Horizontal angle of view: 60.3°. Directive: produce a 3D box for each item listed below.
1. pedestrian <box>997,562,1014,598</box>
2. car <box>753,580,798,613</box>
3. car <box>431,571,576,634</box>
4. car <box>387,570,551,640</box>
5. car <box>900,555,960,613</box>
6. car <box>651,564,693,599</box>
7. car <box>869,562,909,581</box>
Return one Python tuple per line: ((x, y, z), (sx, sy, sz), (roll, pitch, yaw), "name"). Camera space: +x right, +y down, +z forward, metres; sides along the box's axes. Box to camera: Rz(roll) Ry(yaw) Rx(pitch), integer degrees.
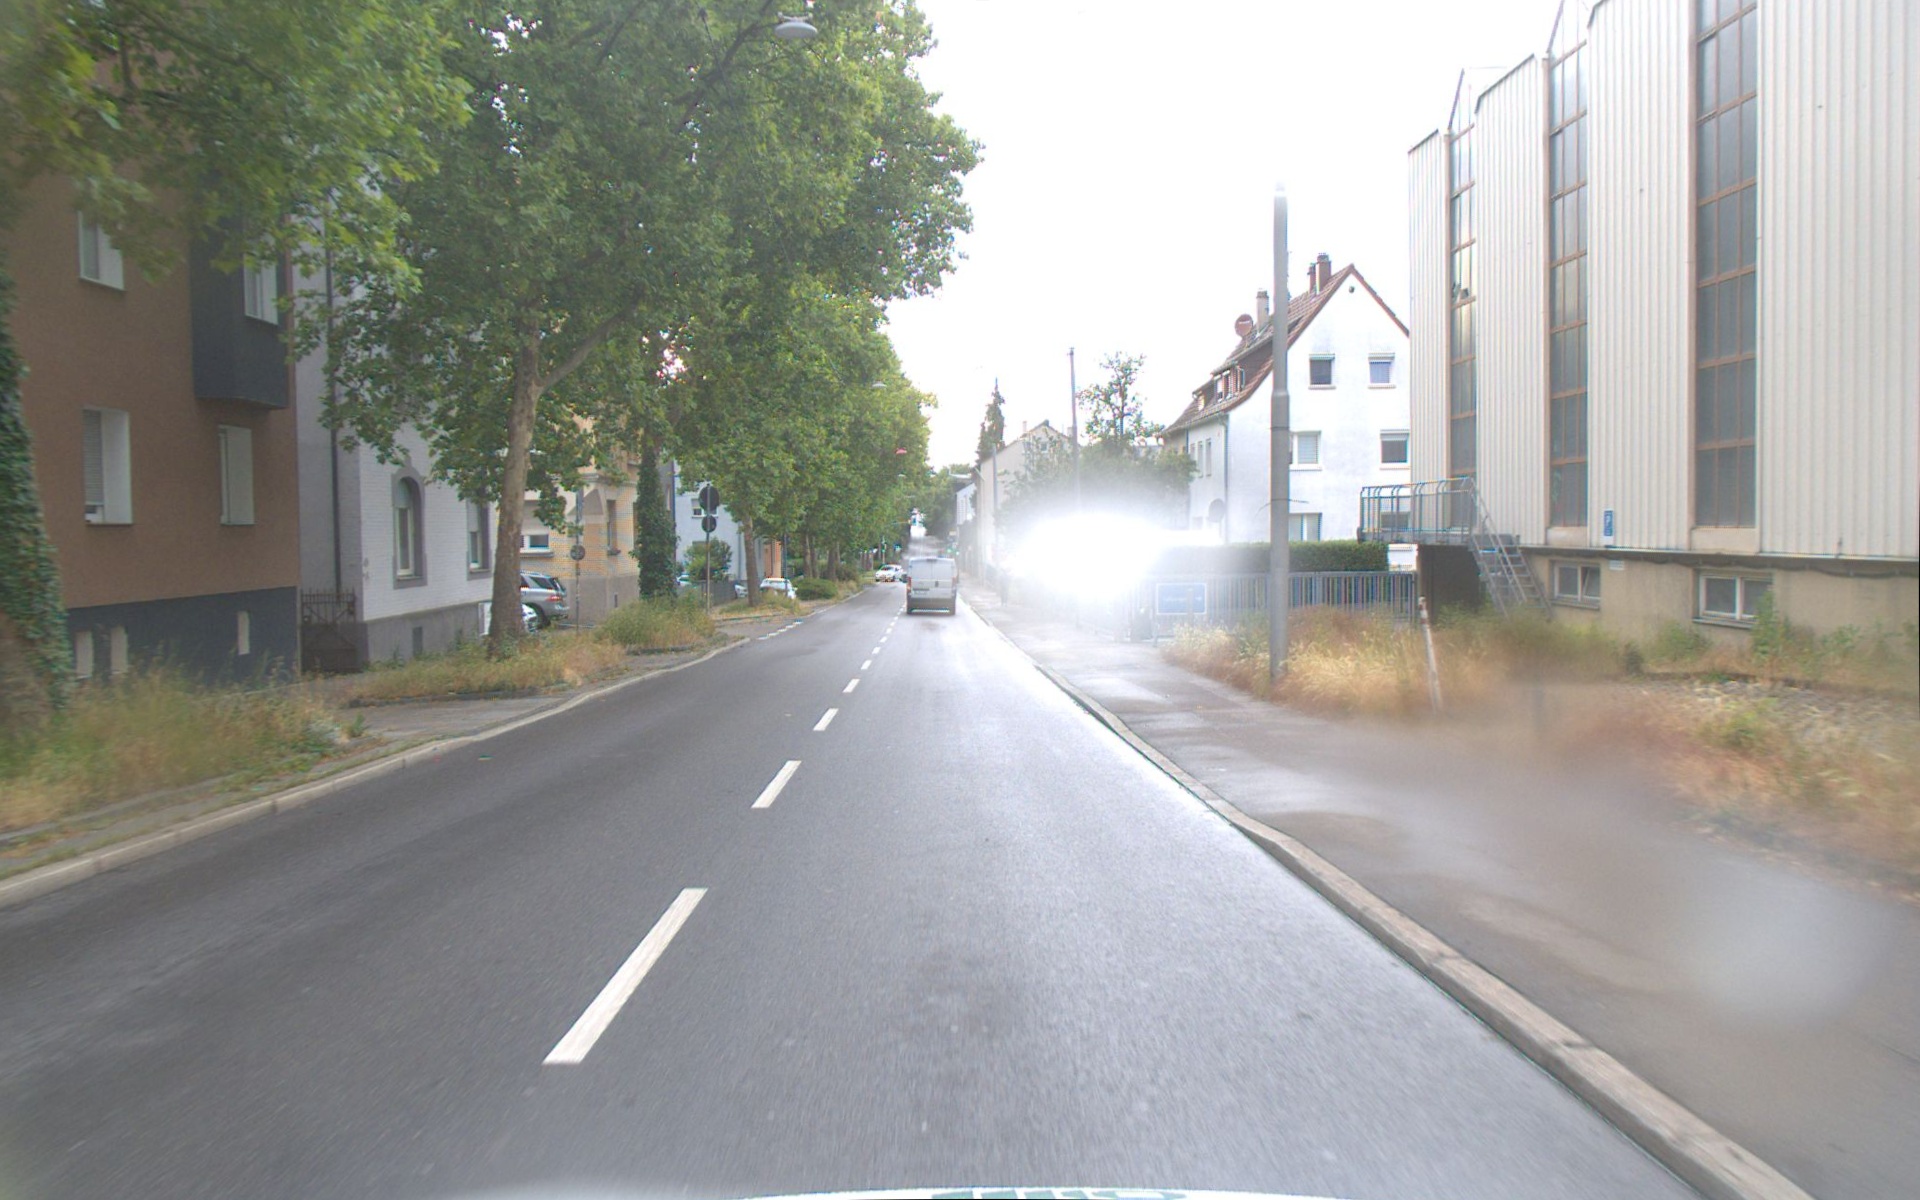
((2.189, -0.951, 79.259), (0.799, 1.728, 0.729), (0, 0, 0), "pedestrian")
((-8.488, -0.186, 76.331), (1.955, 1.477, 4.206), (-1, 1, -5), "car")
((-14.609, 0.060, 53.112), (4.112, 1.925, 1.999), (-1, 1, -2), "car")
((-14.103, 0.118, 47.690), (4.112, 1.925, 1.999), (-1, 1, -2), "car")
((-1.284, -0.692, 68.207), (2.300, 2.197, 4.776), (-1, 2, -3), "car")
((-16.873, -1.084, 97.093), (1.837, 1.927, 4.000), (-1, 2, -1), "car")
((-6.657, -2.676, 156.023), (1.955, 1.739, 4.255), (0, 0, 27), "car")
